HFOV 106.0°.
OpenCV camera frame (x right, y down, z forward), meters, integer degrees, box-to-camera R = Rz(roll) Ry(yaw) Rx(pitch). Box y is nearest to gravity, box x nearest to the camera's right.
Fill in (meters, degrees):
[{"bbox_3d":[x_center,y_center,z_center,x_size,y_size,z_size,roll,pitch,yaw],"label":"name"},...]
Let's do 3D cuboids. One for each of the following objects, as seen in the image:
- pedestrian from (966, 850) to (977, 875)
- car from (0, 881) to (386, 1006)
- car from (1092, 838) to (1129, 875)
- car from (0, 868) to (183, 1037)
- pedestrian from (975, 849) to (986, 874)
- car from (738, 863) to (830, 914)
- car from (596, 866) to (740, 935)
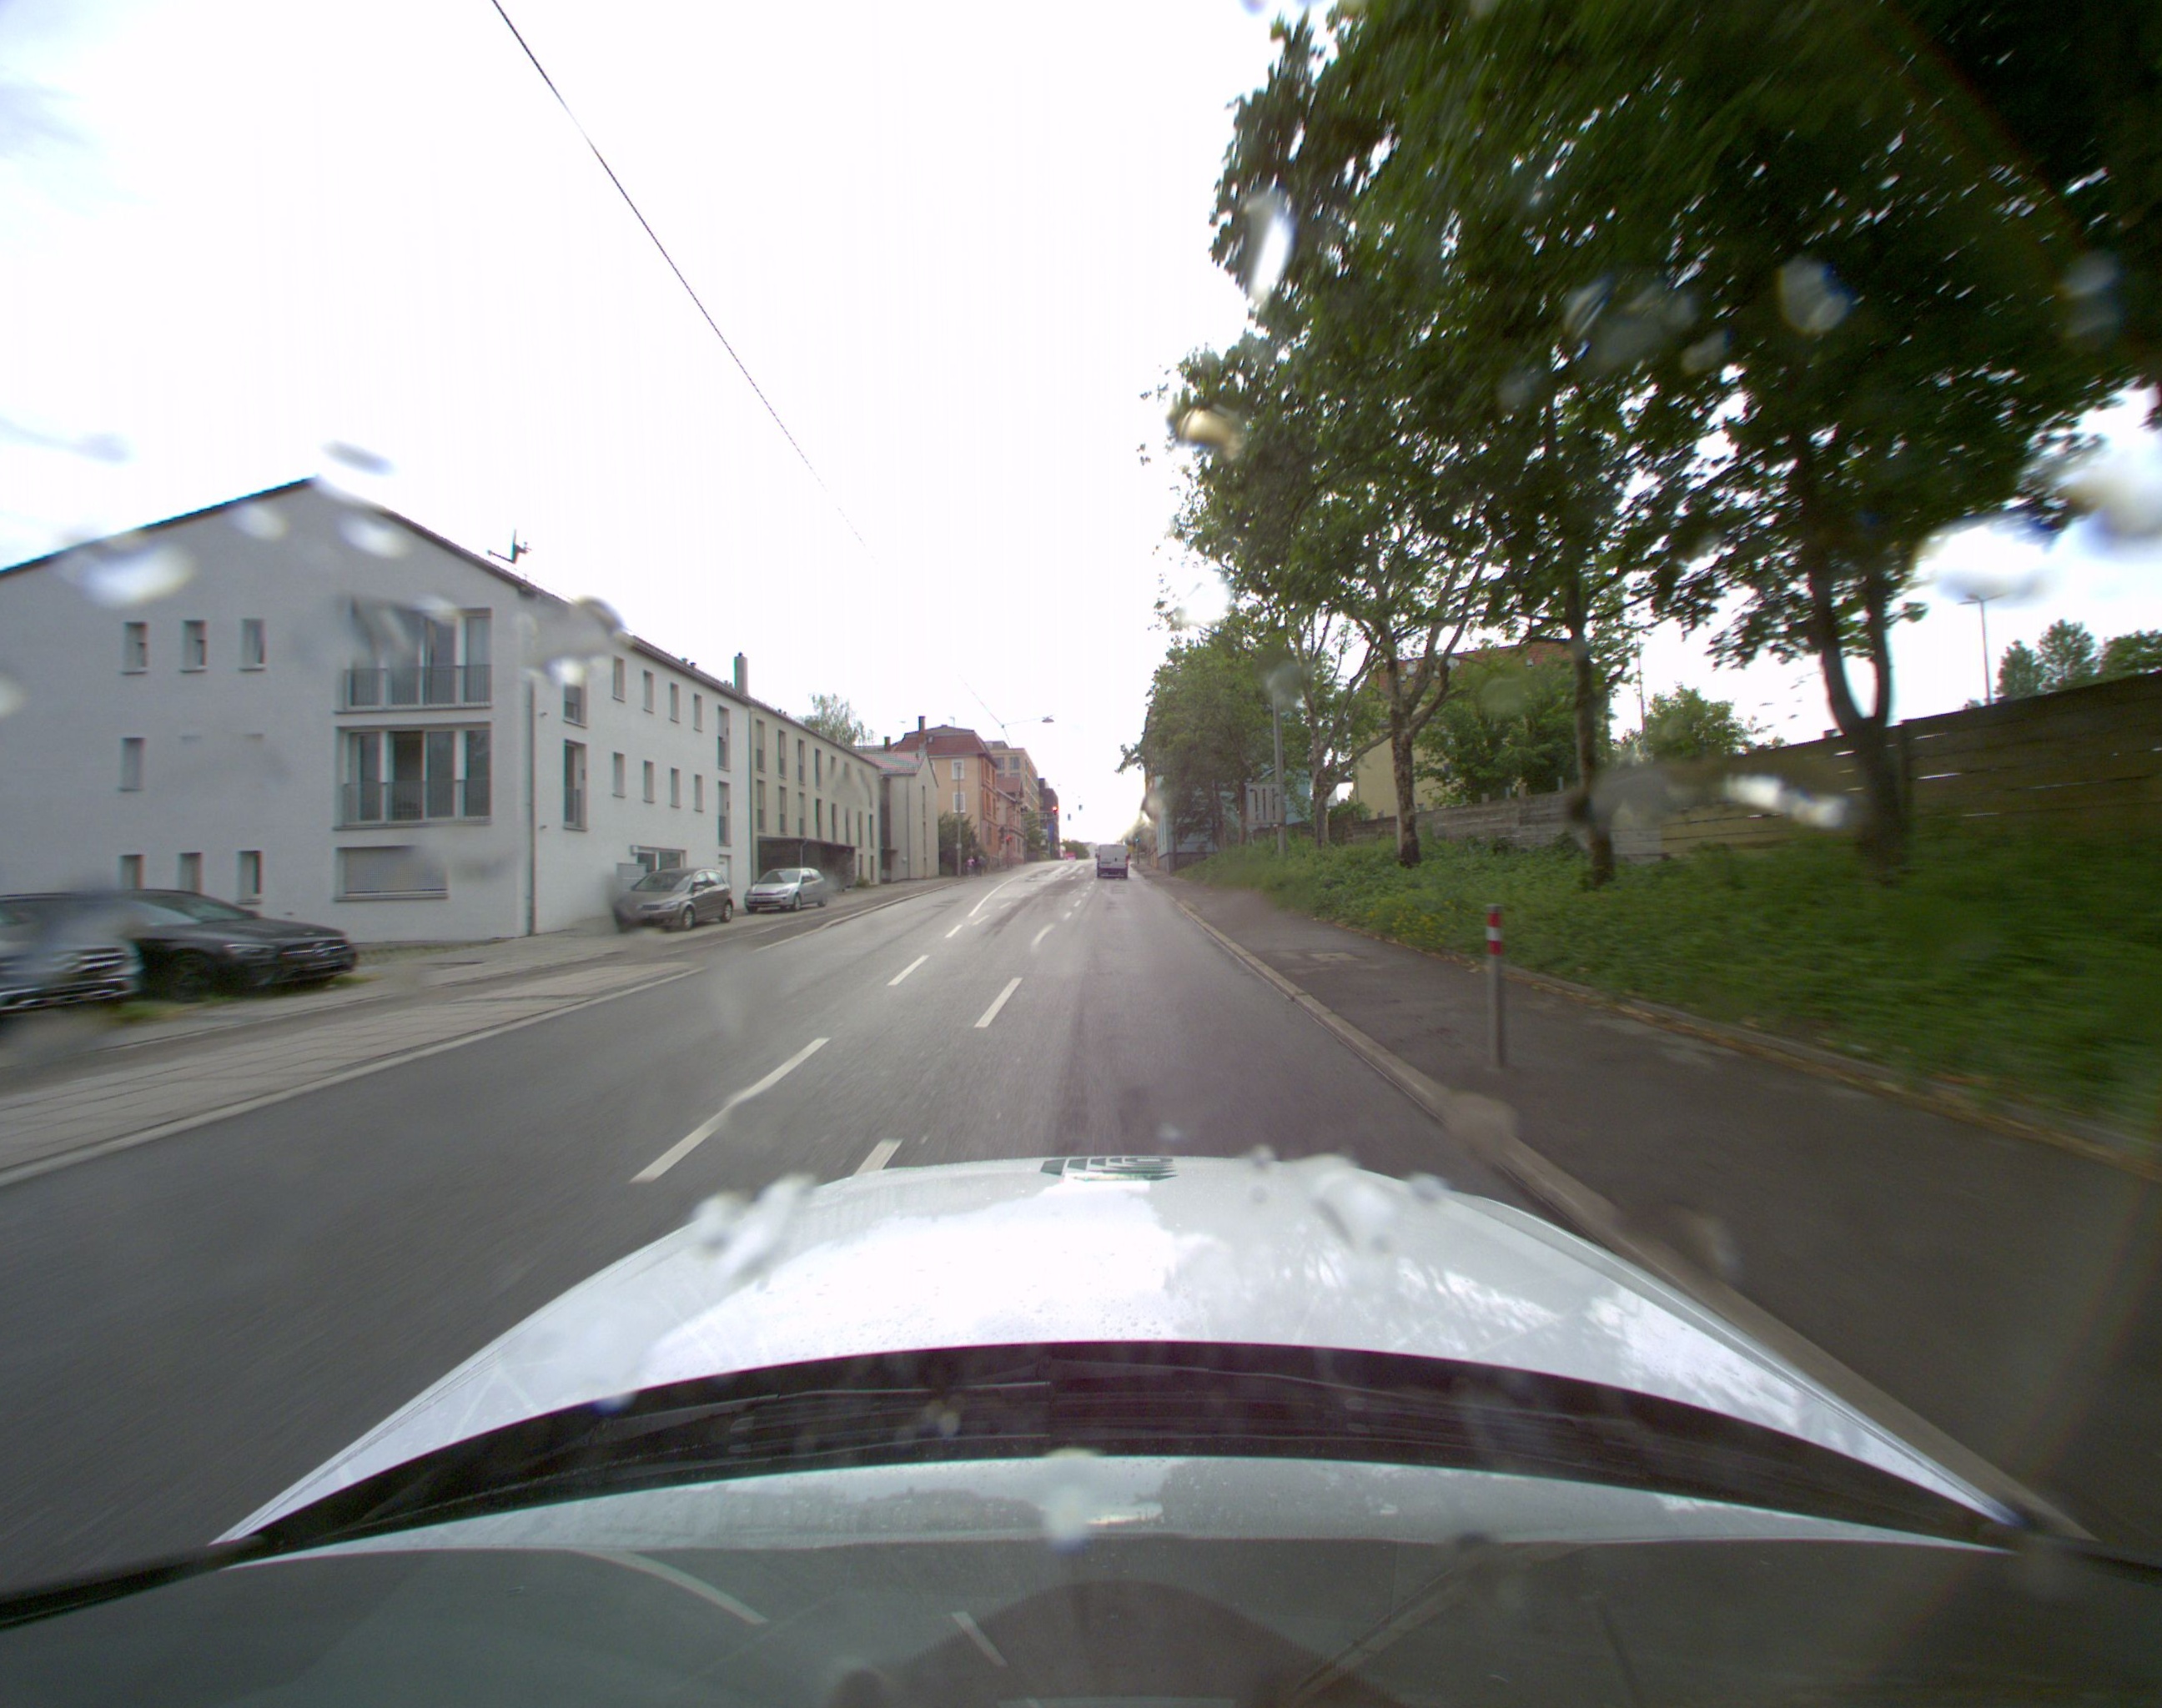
[{"bbox_3d":[-8.893,0.676,66.360,0.668,2.014,0.943,-1,-1,6],"label":"pedestrian"},{"bbox_3d":[-12.790,1.229,11.695,3.968,1.472,2.003,-2,0,4],"label":"car"},{"bbox_3d":[1.971,0.224,54.146,2.327,2.231,4.002,-2,-2,2],"label":"car"},{"bbox_3d":[-13.076,1.091,9.044,4.130,1.698,2.003,-2,0,4],"label":"car"},{"bbox_3d":[-8.111,0.635,65.934,0.668,2.014,0.943,-1,-1,6],"label":"pedestrian"},{"bbox_3d":[-10.274,1.145,28.484,1.662,1.530,4.095,-2,0,0],"label":"car"},{"bbox_3d":[-10.726,1.143,21.526,1.662,1.530,4.095,-2,0,0],"label":"car"}]
